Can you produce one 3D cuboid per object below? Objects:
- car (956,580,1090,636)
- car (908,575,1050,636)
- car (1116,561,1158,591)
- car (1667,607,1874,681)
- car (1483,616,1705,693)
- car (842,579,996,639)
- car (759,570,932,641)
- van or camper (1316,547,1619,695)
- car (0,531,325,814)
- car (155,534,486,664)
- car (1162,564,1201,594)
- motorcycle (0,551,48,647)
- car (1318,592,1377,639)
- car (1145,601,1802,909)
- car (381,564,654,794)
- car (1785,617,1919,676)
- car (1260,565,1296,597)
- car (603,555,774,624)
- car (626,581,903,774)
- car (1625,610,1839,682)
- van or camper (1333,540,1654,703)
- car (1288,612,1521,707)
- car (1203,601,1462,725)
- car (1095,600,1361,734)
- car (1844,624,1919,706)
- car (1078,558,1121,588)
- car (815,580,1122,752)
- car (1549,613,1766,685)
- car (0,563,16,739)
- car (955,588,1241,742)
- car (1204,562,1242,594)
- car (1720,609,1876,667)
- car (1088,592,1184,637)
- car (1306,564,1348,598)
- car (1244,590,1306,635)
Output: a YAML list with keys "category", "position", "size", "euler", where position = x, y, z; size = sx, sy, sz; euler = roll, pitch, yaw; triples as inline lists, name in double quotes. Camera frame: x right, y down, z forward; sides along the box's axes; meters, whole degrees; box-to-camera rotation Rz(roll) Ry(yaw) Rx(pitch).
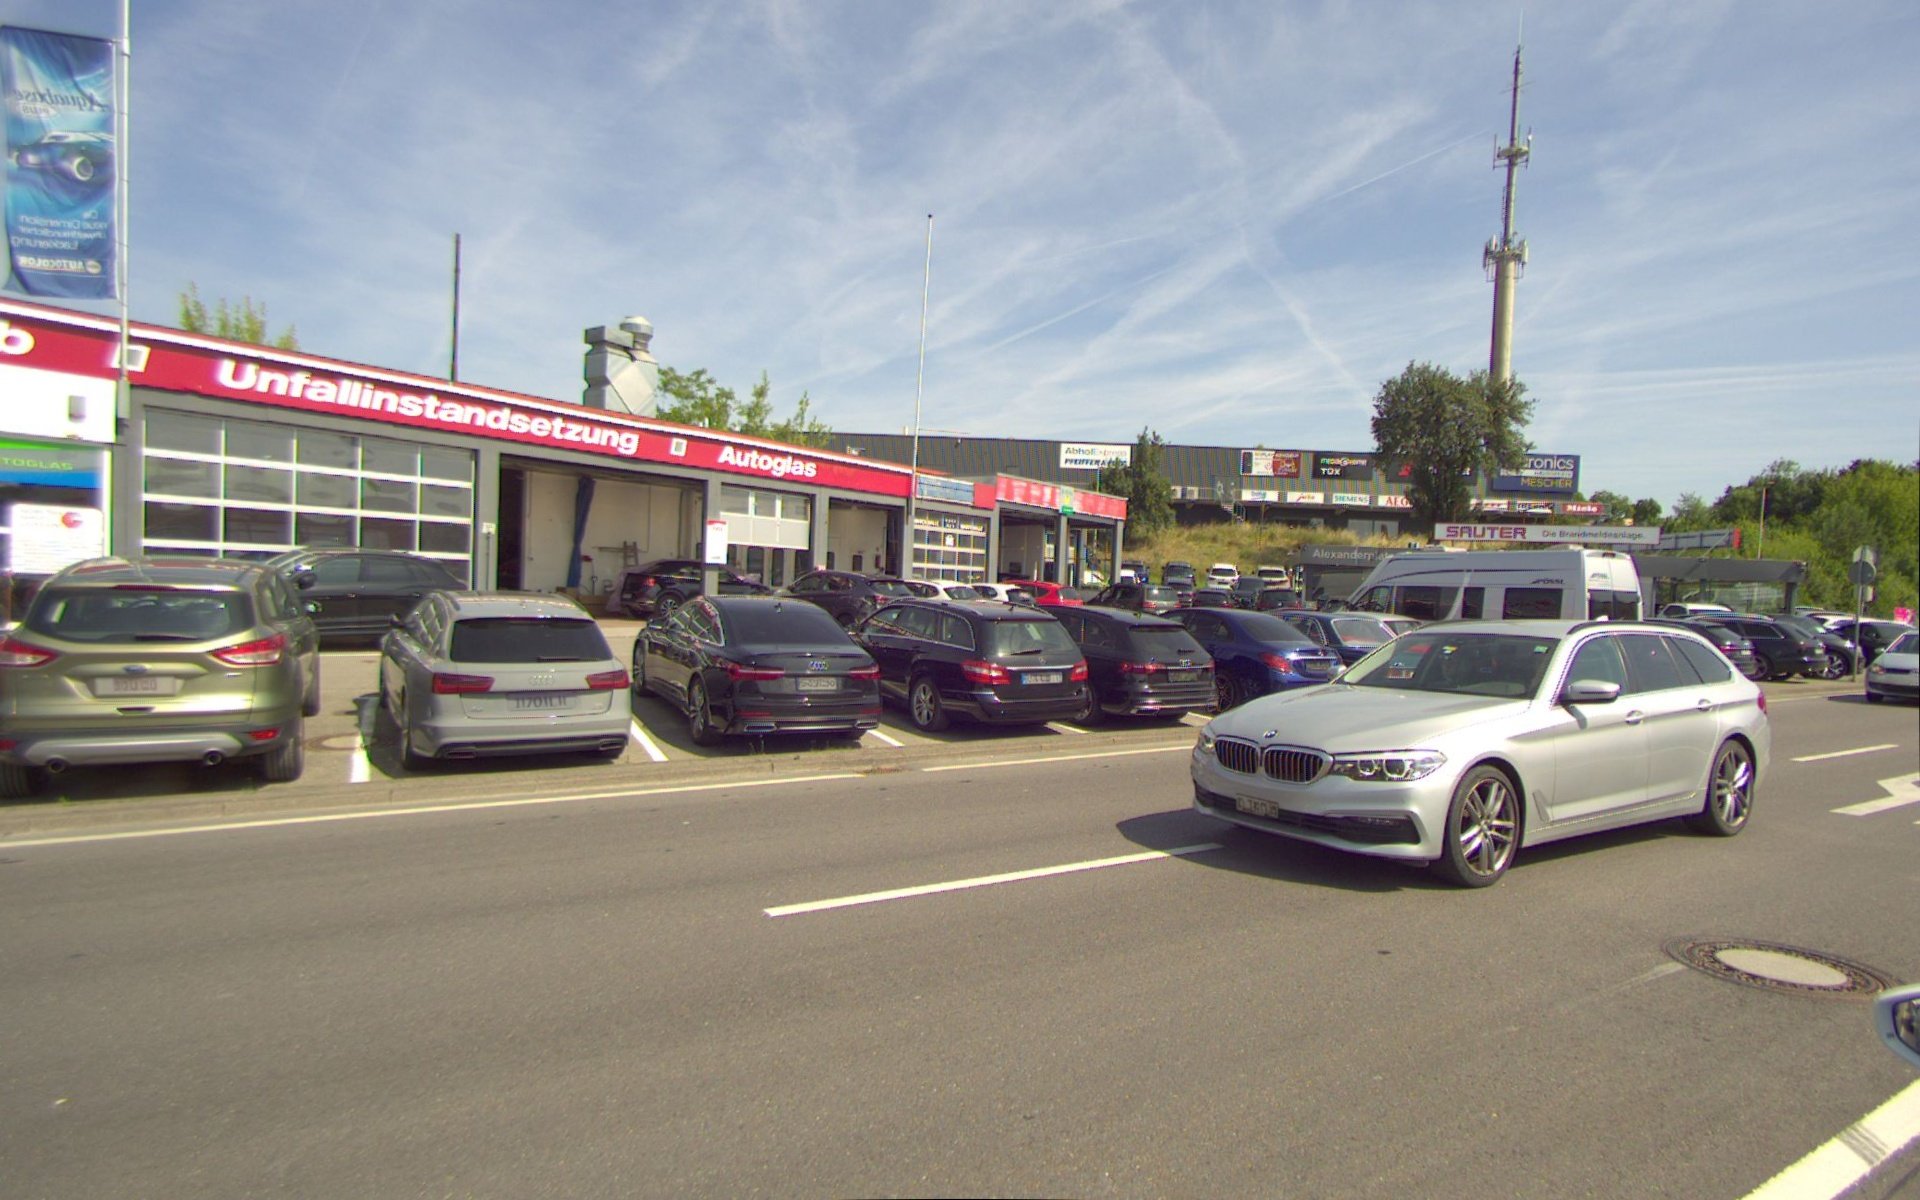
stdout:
- category: "car"
  position: [1.918, 0.226, 31.001]
  size: [3.767, 1.609, 1.763]
  euler: [1, 0, 36]
- category: "car"
  position: [0.520, 0.134, 28.894]
  size: [3.767, 1.609, 1.763]
  euler: [1, 0, 36]
- category: "car"
  position: [9.758, -1.273, 55.148]
  size: [1.702, 1.470, 3.750]
  euler: [3, 0, 18]
- category: "car"
  position: [20.884, 1.073, 26.027]
  size: [1.822, 1.698, 3.796]
  euler: [1, 0, -32]
- category: "car"
  position: [14.115, 1.152, 22.562]
  size: [1.822, 1.467, 3.796]
  euler: [1, 0, -32]
- category: "car"
  position: [-1.121, 0.210, 26.401]
  size: [3.767, 1.451, 1.763]
  euler: [1, 0, 36]
- category: "car"
  position: [-2.738, 0.098, 23.689]
  size: [3.886, 1.553, 1.763]
  euler: [1, 0, 36]
- category: "van or camper"
  position: [11.266, 0.363, 22.901]
  size: [2.262, 2.912, 5.864]
  euler: [1, 1, -30]
- category: "car"
  position: [-6.531, 0.382, 8.530]
  size: [1.786, 1.740, 3.865]
  euler: [1, 4, -31]
- category: "car"
  position: [-10.255, 0.012, 16.408]
  size: [1.797, 1.696, 4.116]
  euler: [8, 3, 34]
- category: "car"
  position: [12.050, -1.134, 54.534]
  size: [1.702, 1.470, 3.750]
  euler: [3, 0, 18]
- category: "motorcycle"
  position: [-13.481, -0.029, 13.253]
  size: [0.760, 1.278, 2.046]
  euler: [1, 0, 38]
- category: "car"
  position: [14.508, 0.567, 37.529]
  size: [1.736, 1.609, 3.825]
  euler: [1, 0, 26]
- category: "car"
  position: [3.758, 0.838, 7.114]
  size: [4.725, 1.541, 1.900]
  euler: [1, 0, -30]
- category: "car"
  position: [-4.492, 0.546, 9.783]
  size: [1.816, 1.505, 4.252]
  euler: [1, 4, -32]
- category: "car"
  position: [29.818, 1.461, 32.762]
  size: [2.089, 1.716, 4.528]
  euler: [1, 0, 0]
- category: "car"
  position: [16.672, -0.973, 52.630]
  size: [1.702, 1.470, 3.750]
  euler: [3, 0, 18]
- category: "car"
  position: [-7.173, -0.231, 26.737]
  size: [3.987, 1.694, 1.887]
  euler: [1, 0, -43]
- category: "car"
  position: [-2.444, 0.705, 11.554]
  size: [1.777, 1.505, 4.276]
  euler: [1, 4, -30]
- category: "car"
  position: [18.920, 1.068, 24.768]
  size: [1.822, 1.560, 3.796]
  euler: [1, 0, -32]
- category: "van or camper"
  position: [10.267, 0.339, 19.857]
  size: [2.184, 2.768, 5.221]
  euler: [1, 1, -29]
- category: "car"
  position: [8.079, 1.019, 18.536]
  size: [1.791, 1.500, 3.577]
  euler: [1, 0, -30]
- category: "car"
  position: [6.024, 0.940, 16.651]
  size: [1.689, 1.505, 3.686]
  euler: [1, 4, -32]
- category: "car"
  position: [3.883, 0.882, 15.121]
  size: [1.689, 1.577, 3.686]
  euler: [0, 3, -32]
- category: "car"
  position: [19.328, 1.261, 19.695]
  size: [4.033, 1.467, 1.828]
  euler: [1, 0, -30]
- category: "car"
  position: [7.771, -1.469, 55.835]
  size: [1.702, 1.470, 3.750]
  euler: [3, 0, 18]
- category: "car"
  position: [-0.111, 0.677, 12.816]
  size: [1.752, 1.505, 4.433]
  euler: [1, 4, -32]
- category: "car"
  position: [16.320, 1.096, 23.681]
  size: [1.822, 1.467, 3.796]
  euler: [1, 0, -32]
- category: "car"
  position: [-8.605, 0.566, 7.356]
  size: [1.773, 1.546, 3.686]
  euler: [1, 4, -32]
- category: "car"
  position: [1.720, 0.758, 13.741]
  size: [1.782, 1.505, 3.822]
  euler: [1, 4, -32]
- category: "car"
  position: [14.171, -1.171, 54.079]
  size: [1.702, 1.558, 3.750]
  euler: [3, 0, 18]
- category: "car"
  position: [27.270, 1.197, 32.859]
  size: [1.807, 1.716, 3.828]
  euler: [1, 0, -2]
- category: "car"
  position: [6.543, 0.511, 37.726]
  size: [1.744, 1.609, 3.808]
  euler: [1, 0, -23]
- category: "car"
  position: [17.832, -0.899, 48.865]
  size: [1.702, 1.470, 3.750]
  euler: [3, 0, 18]
- category: "car"
  position: [12.227, 0.464, 39.222]
  size: [1.733, 1.609, 3.831]
  euler: [1, 0, 9]
